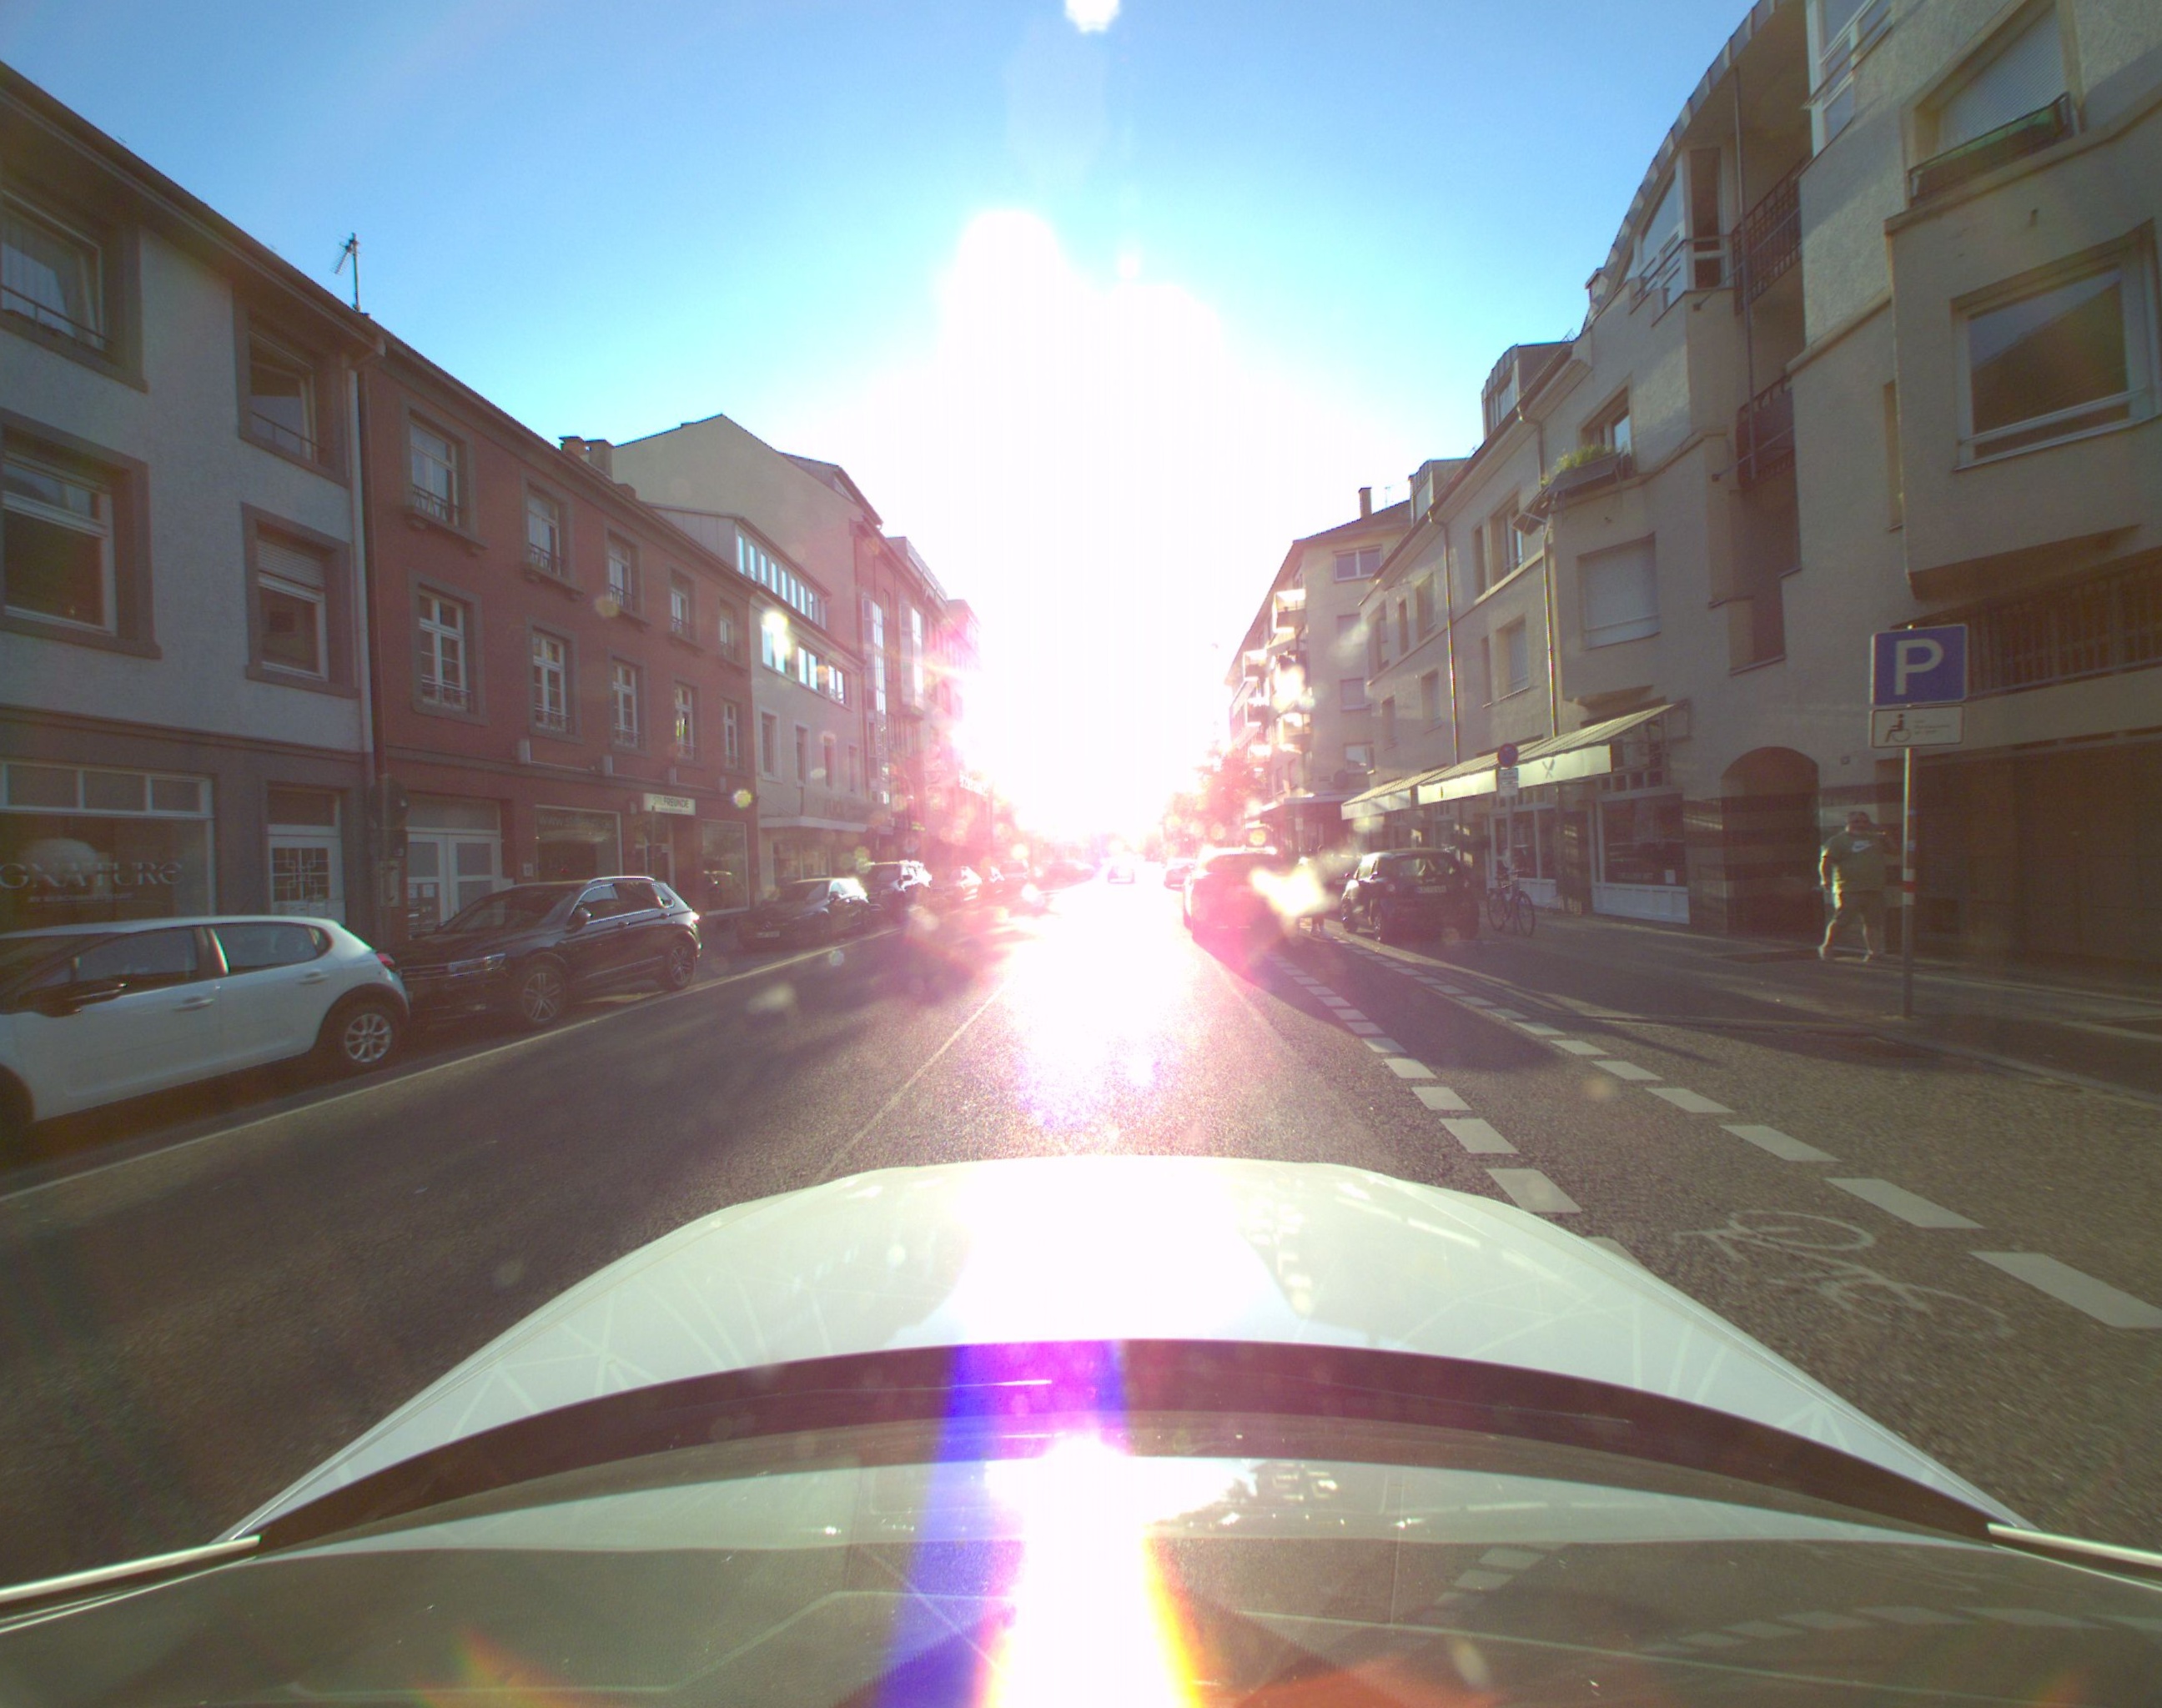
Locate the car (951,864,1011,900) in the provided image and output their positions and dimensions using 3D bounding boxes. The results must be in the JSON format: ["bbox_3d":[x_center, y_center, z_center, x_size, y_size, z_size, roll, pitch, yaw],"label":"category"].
[{"bbox_3d":[-4.583,1.262,38.130,1.819,1.439,4.558,-5,-1,4],"label":"car"}]

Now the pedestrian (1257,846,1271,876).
[{"bbox_3d":[10.904,0.418,48.583,0.684,1.721,0.718,-3,-1,10],"label":"pedestrian"}]

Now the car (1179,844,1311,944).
[{"bbox_3d":[3.027,0.677,16.001,1.986,1.655,4.679,-1,0,4],"label":"car"}]

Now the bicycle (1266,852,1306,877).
[{"bbox_3d":[9.816,0.501,39.071,0.654,1.155,1.913,-2,-1,-29],"label":"bicycle"}]

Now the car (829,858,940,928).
[{"bbox_3d":[-5.918,1.100,25.283,1.820,1.810,5.351,-4,0,2],"label":"car"}]

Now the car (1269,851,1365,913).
[{"bbox_3d":[6.142,0.690,21.590,1.626,1.424,3.761,-3,0,4],"label":"car"}]

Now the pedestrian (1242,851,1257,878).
[{"bbox_3d":[10.103,0.647,48.804,0.685,1.559,0.863,-3,-1,3],"label":"pedestrian"}]

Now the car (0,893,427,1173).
[{"bbox_3d":[-7.263,1.193,5.771,1.765,1.515,3.955,-4,0,5],"label":"car"}]

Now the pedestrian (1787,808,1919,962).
[{"bbox_3d":[8.738,0.347,9.257,0.803,1.646,0.609,-5,-1,20],"label":"pedestrian"}]

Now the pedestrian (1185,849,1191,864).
[{"bbox_3d":[12.327,0.326,94.208,0.496,1.715,0.460,-2,0,-16],"label":"pedestrian"}]

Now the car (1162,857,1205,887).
[{"bbox_3d":[5.050,0.855,40.576,1.913,1.415,4.553,0,0,4],"label":"car"}]

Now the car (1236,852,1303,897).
[{"bbox_3d":[6.663,0.692,29.174,1.695,1.436,3.936,-3,0,4],"label":"car"}]

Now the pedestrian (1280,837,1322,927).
[{"bbox_3d":[4.231,0.534,15.687,0.443,1.665,0.561,-3,0,-21],"label":"pedestrian"}]

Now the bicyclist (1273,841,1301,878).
[{"bbox_3d":[9.879,0.260,39.008,0.654,1.702,1.085,-2,-1,-29],"label":"bicyclist"}]

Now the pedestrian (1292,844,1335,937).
[{"bbox_3d":[4.292,0.658,15.059,0.443,1.665,0.561,-3,0,-21],"label":"pedestrian"}]

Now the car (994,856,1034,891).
[{"bbox_3d":[-3.846,1.093,47.238,1.826,1.854,4.124,-2,-1,1],"label":"car"}]

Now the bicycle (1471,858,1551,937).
[{"bbox_3d":[7.327,0.706,13.962,0.395,1.234,1.826,-3,0,2],"label":"bicycle"}]

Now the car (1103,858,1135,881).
[{"bbox_3d":[2.538,0.975,53.352,1.875,1.415,4.330,-2,0,4],"label":"car"}]

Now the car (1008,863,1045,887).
[{"bbox_3d":[-3.510,1.361,53.320,1.825,1.328,4.127,-3,0,3],"label":"car"}]

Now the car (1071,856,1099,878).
[{"bbox_3d":[0.347,1.035,66.848,1.913,1.602,4.331,-2,1,4],"label":"car"}]

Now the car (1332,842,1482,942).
[{"bbox_3d":[5.762,0.629,14.705,1.627,1.553,2.695,-3,0,2],"label":"car"}]

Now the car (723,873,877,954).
[{"bbox_3d":[-6.324,1.282,18.900,1.705,1.440,4.314,-4,0,4],"label":"car"}]

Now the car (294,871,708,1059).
[{"bbox_3d":[-6.689,1.148,10.127,1.765,1.633,4.243,-4,0,5],"label":"car"}]

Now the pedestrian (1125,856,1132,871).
[{"bbox_3d":[5.553,1.107,95.707,0.575,1.644,0.524,-2,1,-17],"label":"pedestrian"}]

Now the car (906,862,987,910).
[{"bbox_3d":[-5.158,1.187,32.010,1.818,1.556,5.143,-4,0,5],"label":"car"}]
